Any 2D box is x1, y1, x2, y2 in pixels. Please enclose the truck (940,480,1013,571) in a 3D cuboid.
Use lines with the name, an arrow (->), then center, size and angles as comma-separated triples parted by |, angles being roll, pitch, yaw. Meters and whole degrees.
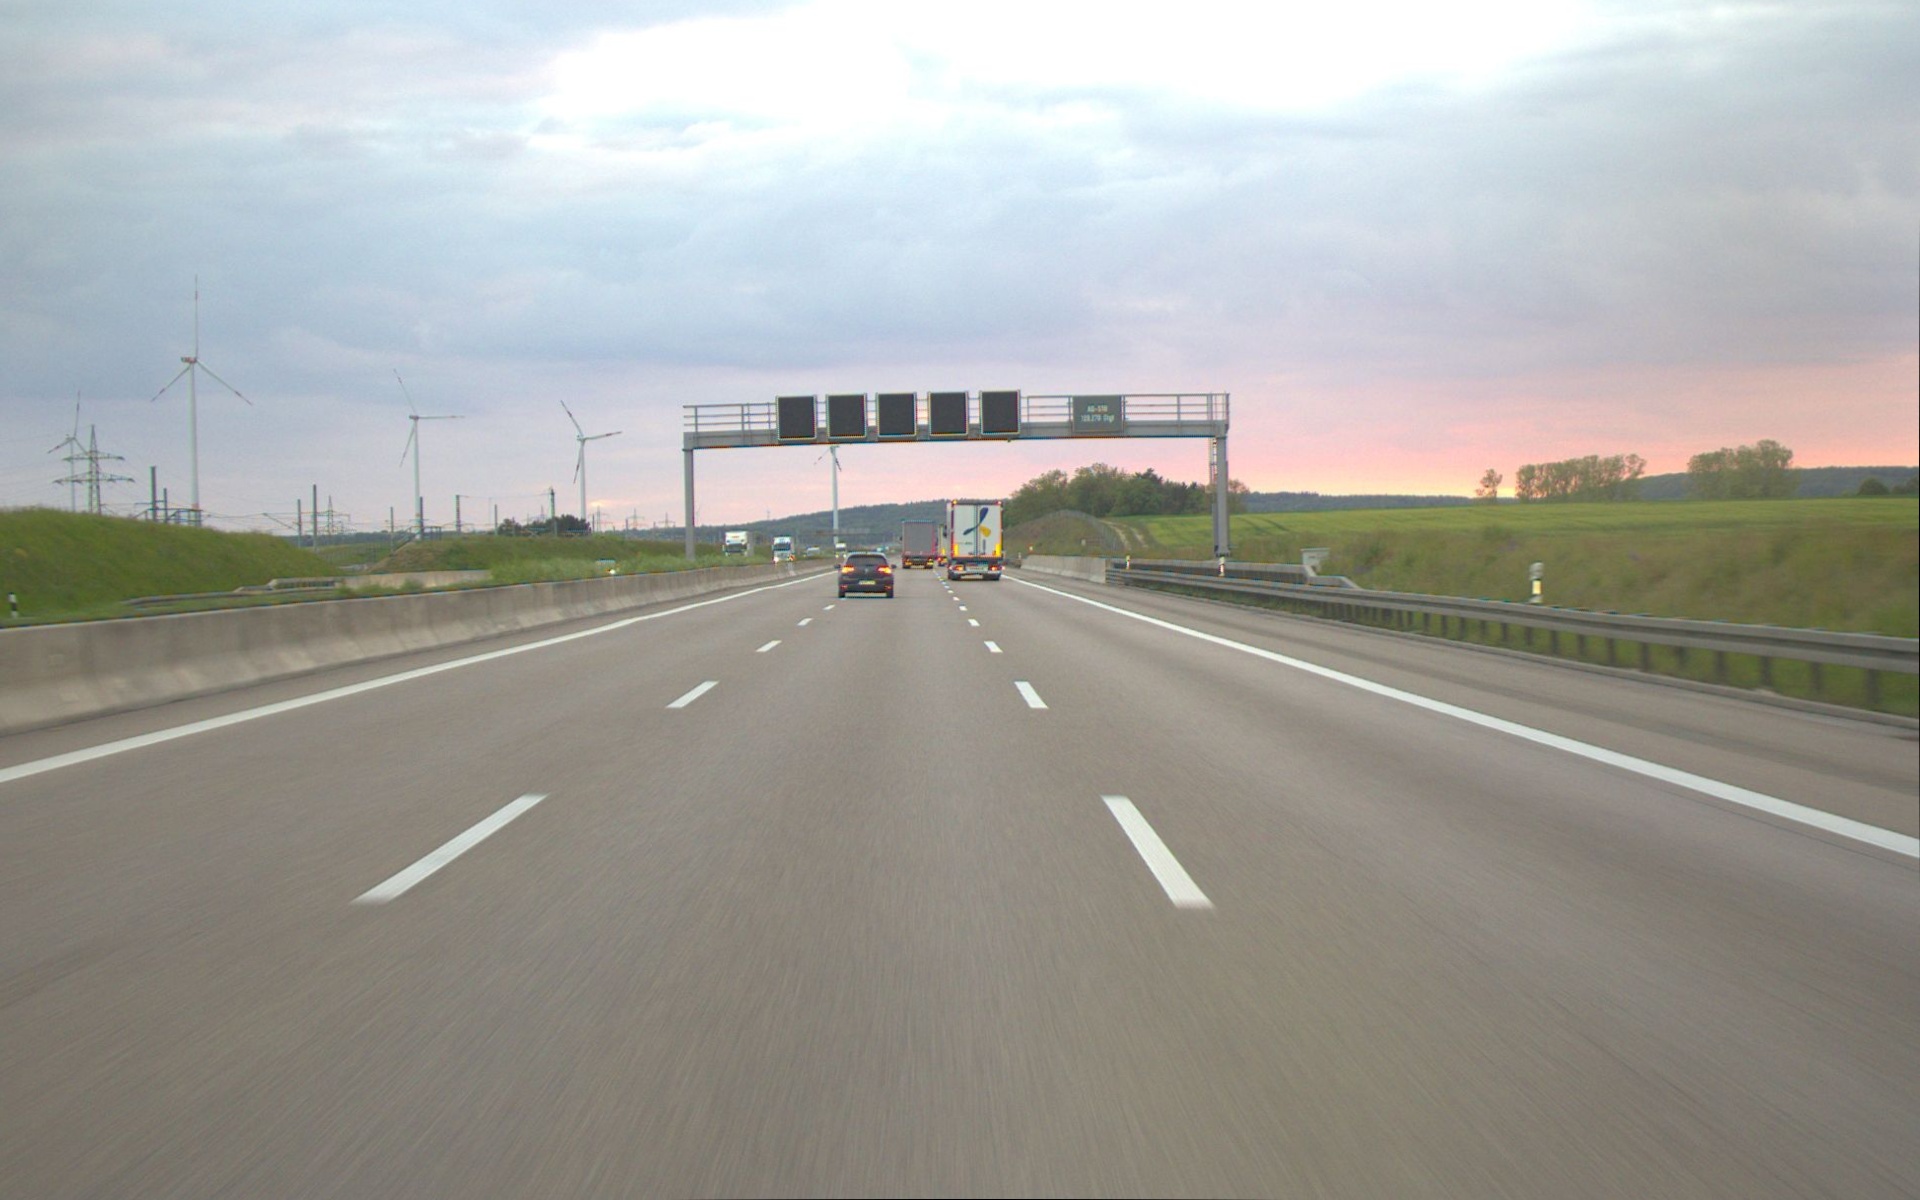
truck -> 0.788, -3.802, 177.426 | 3.675, 4.549, 10.982 | 0, 1, 0

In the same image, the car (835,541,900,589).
car -> -2.921, -1.113, 108.880 | 1.987, 1.425, 4.001 | -1, 1, -1
